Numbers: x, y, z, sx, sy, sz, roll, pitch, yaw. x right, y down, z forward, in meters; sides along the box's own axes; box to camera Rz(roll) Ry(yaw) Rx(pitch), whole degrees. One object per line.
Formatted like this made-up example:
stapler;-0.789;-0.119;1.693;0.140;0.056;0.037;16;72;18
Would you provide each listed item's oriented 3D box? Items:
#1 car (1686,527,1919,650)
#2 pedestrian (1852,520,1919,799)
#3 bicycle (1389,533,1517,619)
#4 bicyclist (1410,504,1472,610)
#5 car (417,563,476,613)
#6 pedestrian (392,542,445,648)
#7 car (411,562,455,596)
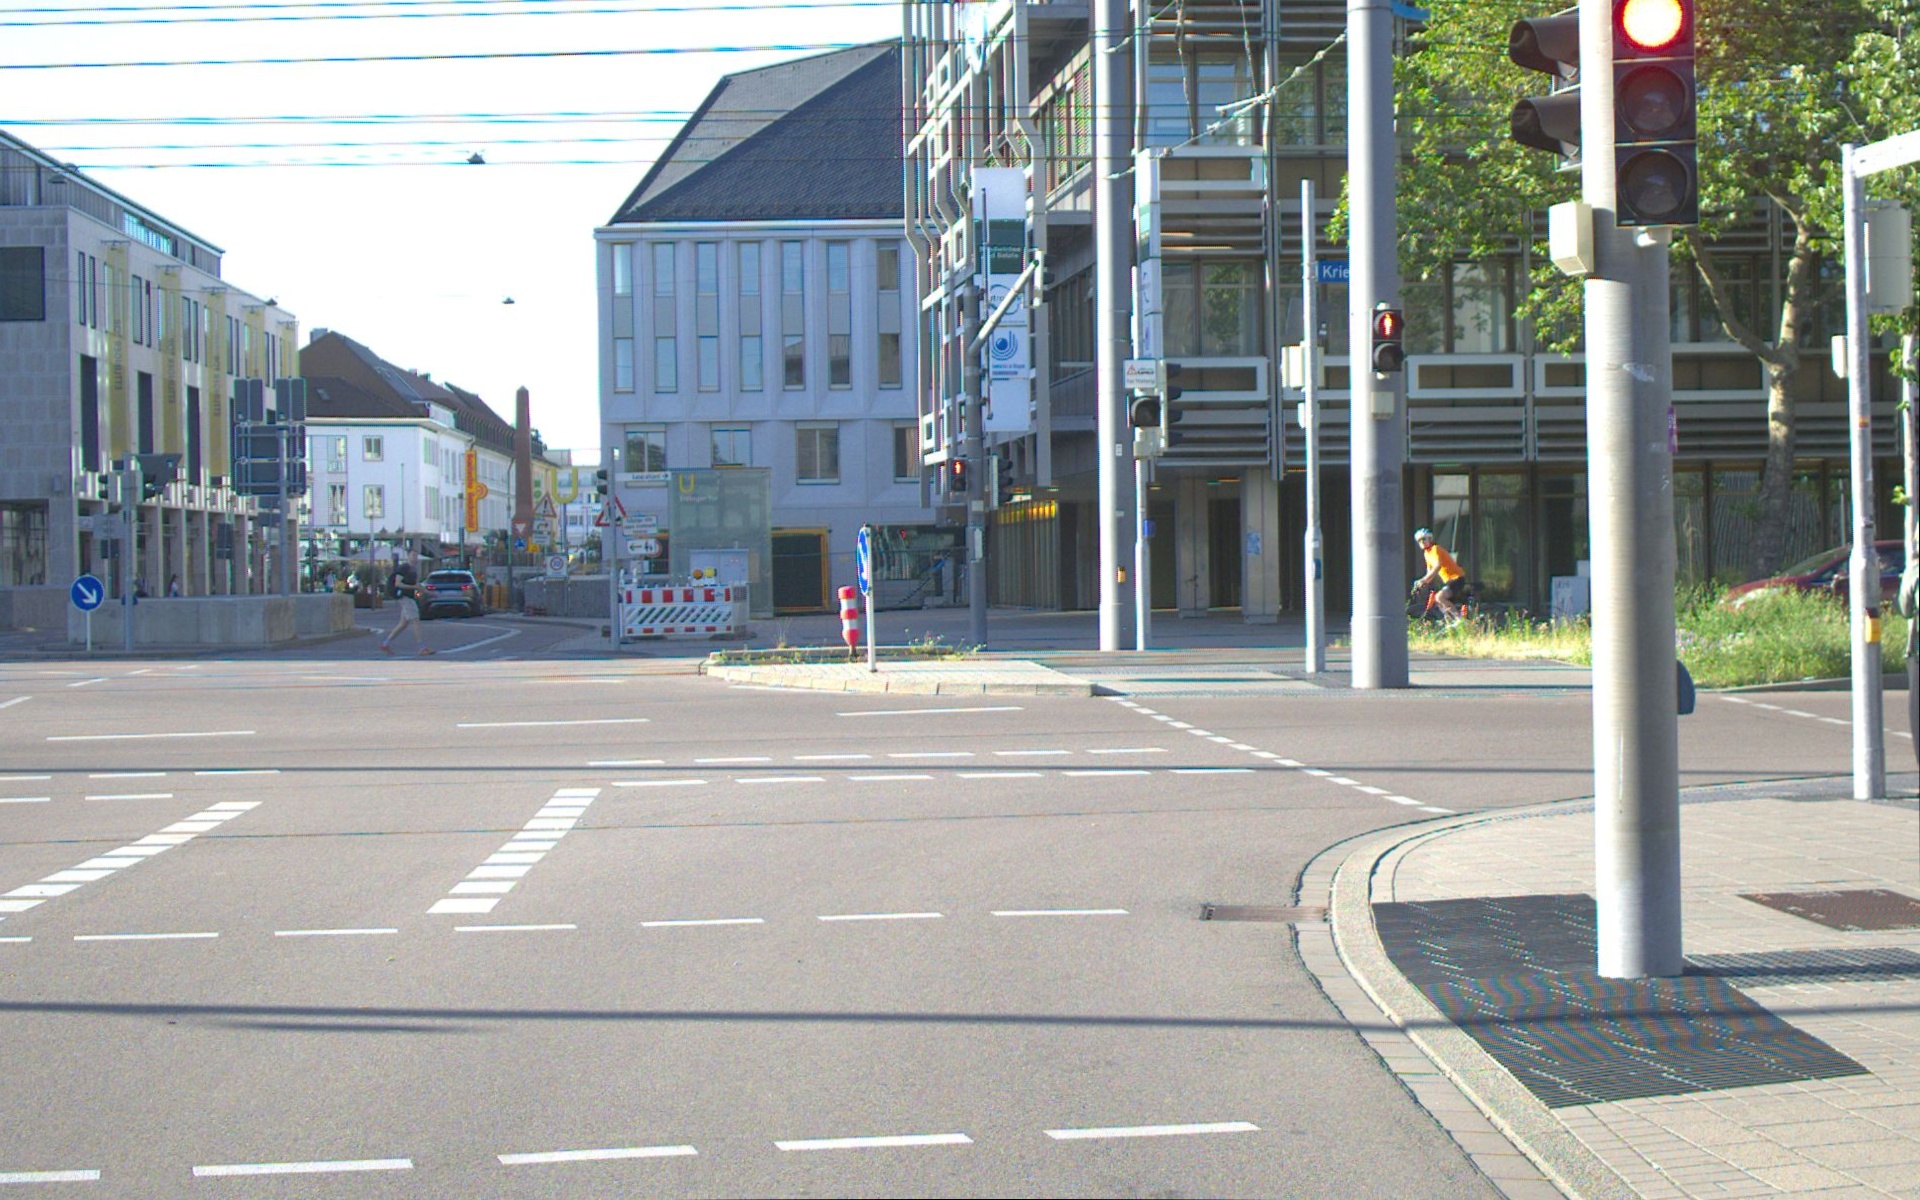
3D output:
car;11.908;-0.173;46.150;3.884;1.579;1.660;-1;1;-7
pedestrian;5.338;0.318;18.674;0.788;1.487;0.644;1;0;-1
bicycle;6.767;-0.326;47.225;1.644;1.150;0.497;1;0;-9
bicyclist;6.607;-0.588;47.204;0.711;1.432;0.497;1;0;-9
car;-16.141;-0.383;108.204;1.737;1.525;3.856;1;1;-7
pedestrian;-9.665;-0.092;61.373;0.642;1.883;0.790;1;0;14
car;-23.249;-0.932;151.725;1.785;1.446;4.001;1;1;-7
